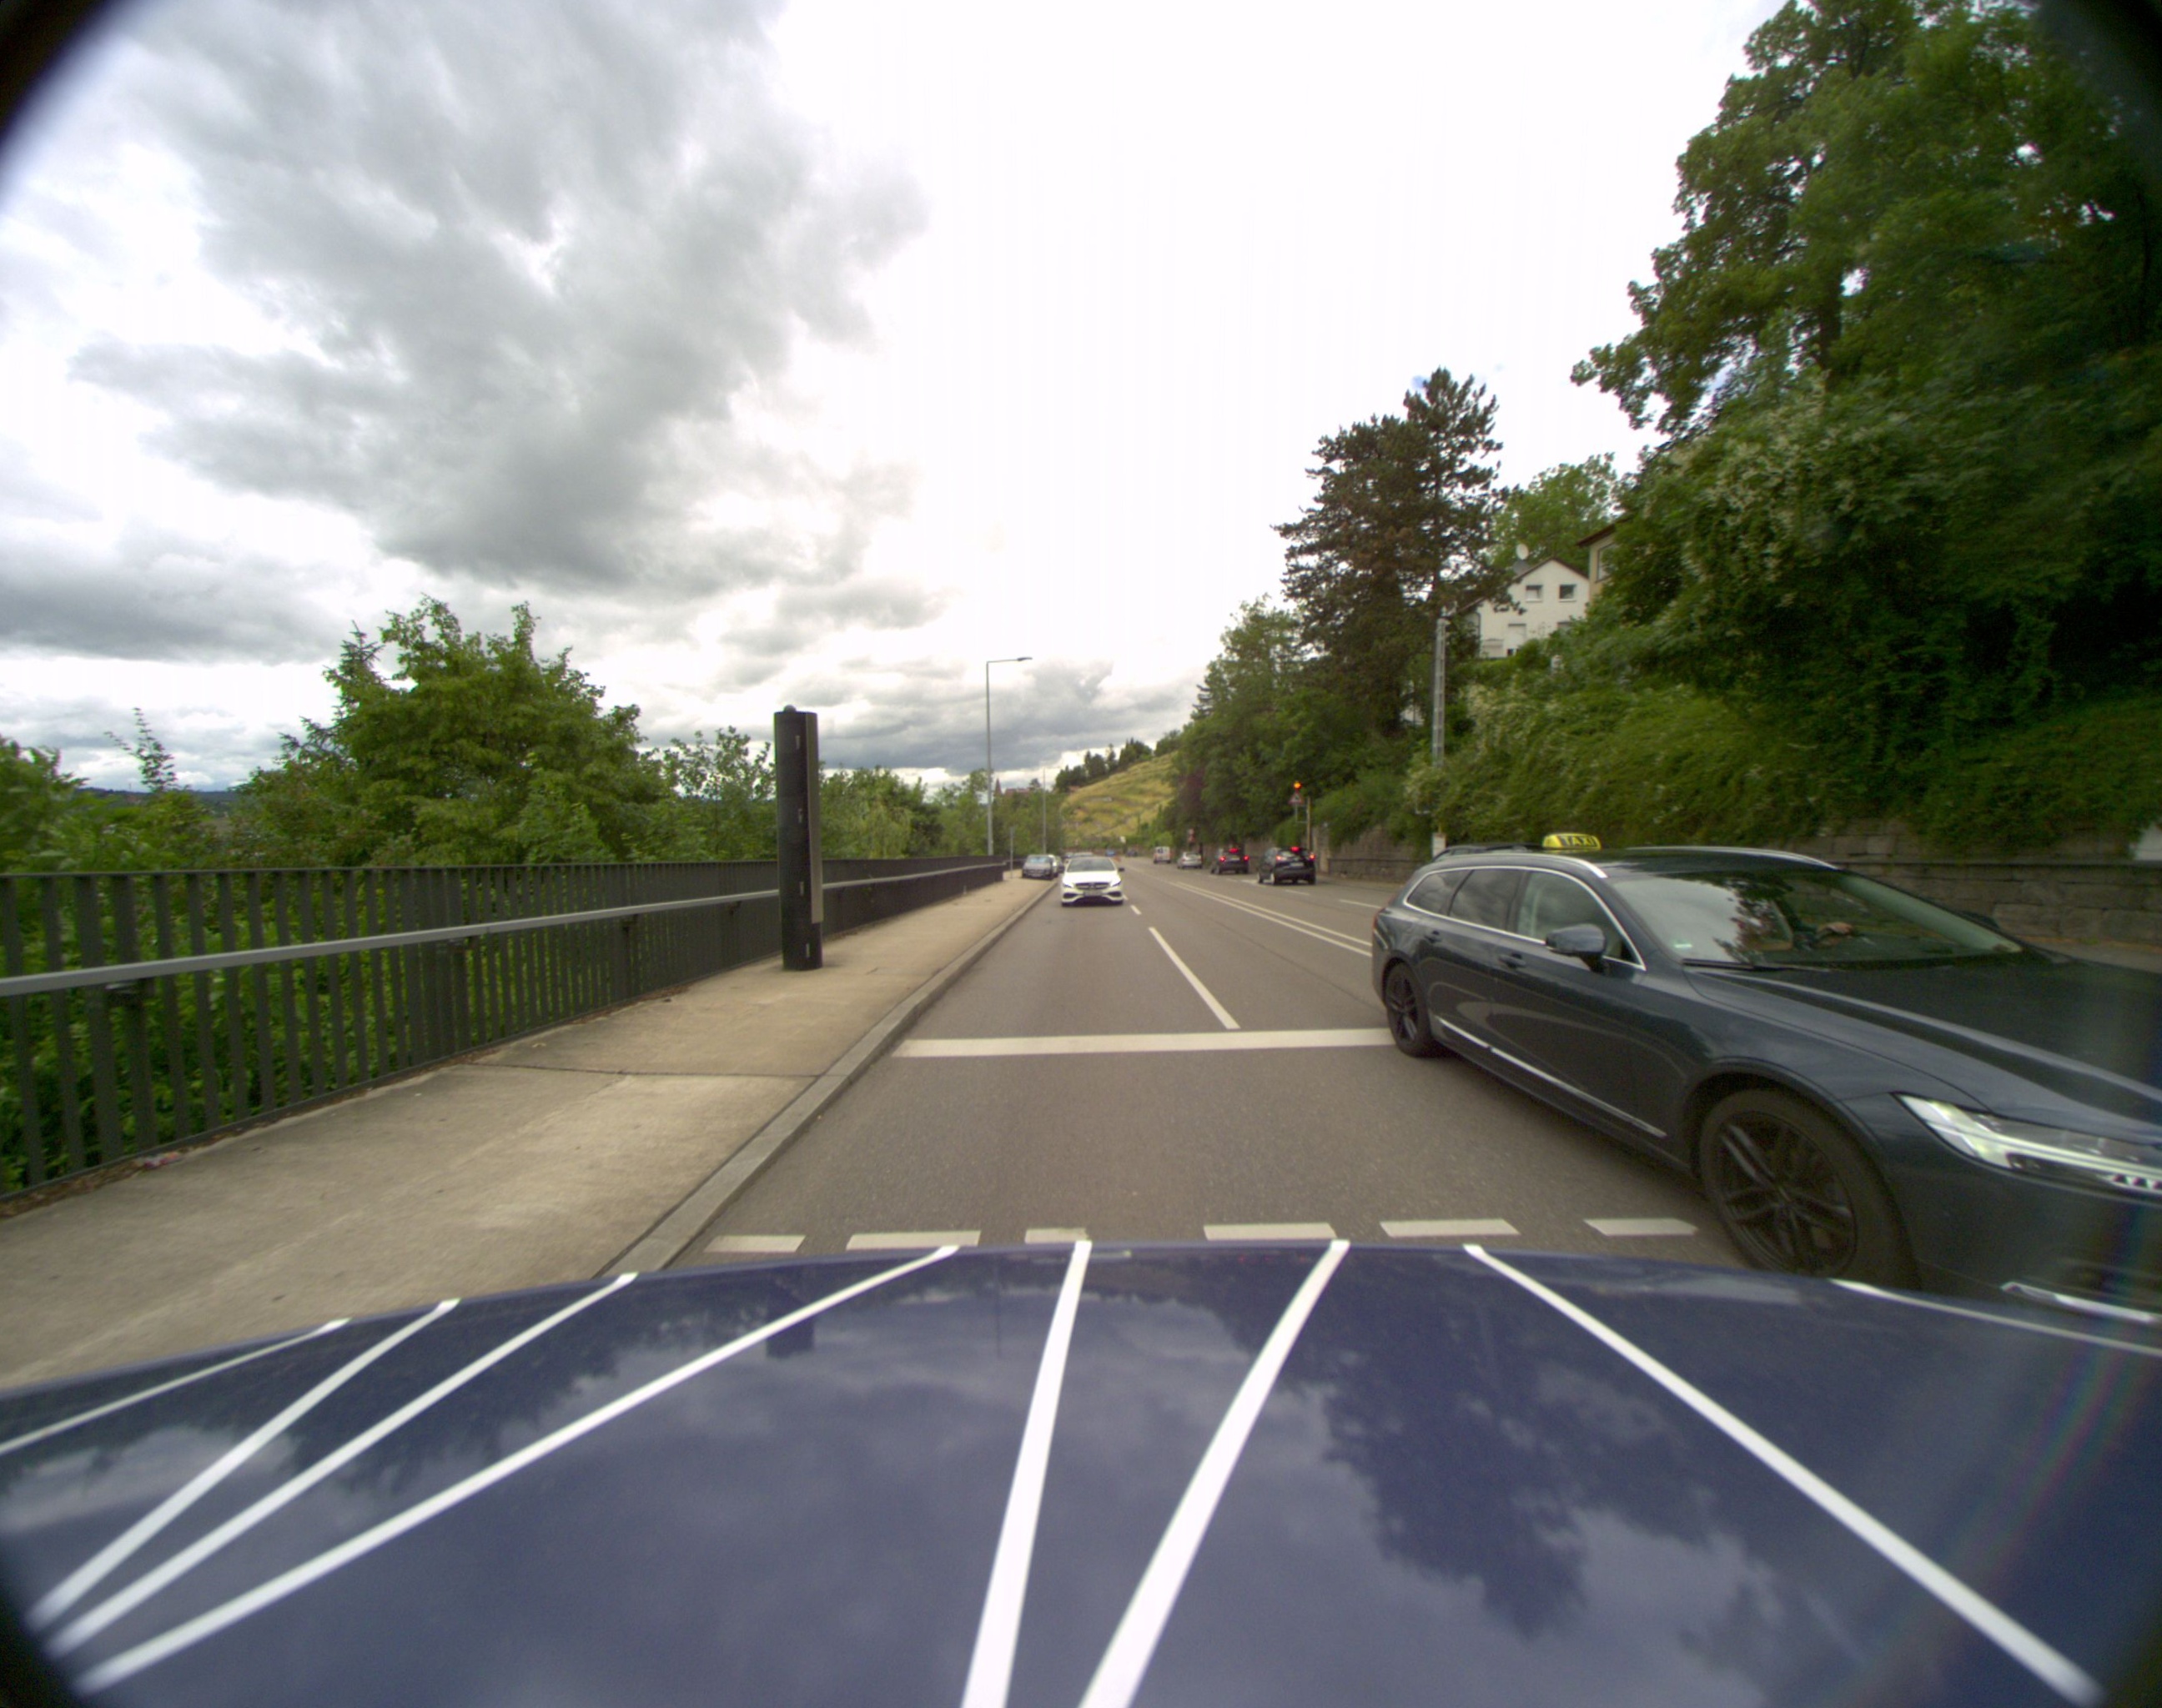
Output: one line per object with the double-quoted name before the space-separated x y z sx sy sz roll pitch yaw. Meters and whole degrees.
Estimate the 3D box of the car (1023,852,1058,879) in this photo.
"car" -2.403 0.662 46.071 1.761 1.535 4.427 1 0 0

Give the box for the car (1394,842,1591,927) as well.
"car" 8.242 0.513 15.722 1.817 1.425 4.248 -3 1 2

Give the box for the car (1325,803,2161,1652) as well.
"car" 3.009 0.641 3.875 1.939 1.567 5.027 -3 0 1

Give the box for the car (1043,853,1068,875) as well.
"car" -1.929 0.718 58.646 1.663 1.563 4.255 1 0 0

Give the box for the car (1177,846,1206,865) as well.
"car" 9.107 0.155 62.790 1.680 1.433 4.233 -3 0 0

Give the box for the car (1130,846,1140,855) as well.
"car" 10.745 -0.766 150.703 1.819 1.687 4.471 -2 1 5

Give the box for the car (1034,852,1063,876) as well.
"car" -2.229 0.665 52.745 1.731 1.559 4.623 0 1 0

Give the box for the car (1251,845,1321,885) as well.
"car" 8.520 0.436 31.935 1.786 1.473 4.211 -3 0 1

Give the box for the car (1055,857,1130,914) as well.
"car" 0.412 0.848 22.158 1.903 1.418 4.267 -3 -1 3

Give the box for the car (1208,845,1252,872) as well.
"car" 9.175 0.219 47.001 1.946 1.540 4.248 -1 1 1

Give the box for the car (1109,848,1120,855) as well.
"car" 7.531 -0.608 169.604 1.589 1.453 3.519 -3 0 -12

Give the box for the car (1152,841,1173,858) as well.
"car" 9.790 -0.537 91.516 1.926 1.993 5.355 -2 0 1

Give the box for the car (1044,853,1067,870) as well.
"car" -2.229 0.647 67.256 1.828 1.393 4.318 1 0 -1

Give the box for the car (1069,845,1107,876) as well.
"car" 0.439 0.348 43.671 1.998 1.580 4.000 -3 1 1
